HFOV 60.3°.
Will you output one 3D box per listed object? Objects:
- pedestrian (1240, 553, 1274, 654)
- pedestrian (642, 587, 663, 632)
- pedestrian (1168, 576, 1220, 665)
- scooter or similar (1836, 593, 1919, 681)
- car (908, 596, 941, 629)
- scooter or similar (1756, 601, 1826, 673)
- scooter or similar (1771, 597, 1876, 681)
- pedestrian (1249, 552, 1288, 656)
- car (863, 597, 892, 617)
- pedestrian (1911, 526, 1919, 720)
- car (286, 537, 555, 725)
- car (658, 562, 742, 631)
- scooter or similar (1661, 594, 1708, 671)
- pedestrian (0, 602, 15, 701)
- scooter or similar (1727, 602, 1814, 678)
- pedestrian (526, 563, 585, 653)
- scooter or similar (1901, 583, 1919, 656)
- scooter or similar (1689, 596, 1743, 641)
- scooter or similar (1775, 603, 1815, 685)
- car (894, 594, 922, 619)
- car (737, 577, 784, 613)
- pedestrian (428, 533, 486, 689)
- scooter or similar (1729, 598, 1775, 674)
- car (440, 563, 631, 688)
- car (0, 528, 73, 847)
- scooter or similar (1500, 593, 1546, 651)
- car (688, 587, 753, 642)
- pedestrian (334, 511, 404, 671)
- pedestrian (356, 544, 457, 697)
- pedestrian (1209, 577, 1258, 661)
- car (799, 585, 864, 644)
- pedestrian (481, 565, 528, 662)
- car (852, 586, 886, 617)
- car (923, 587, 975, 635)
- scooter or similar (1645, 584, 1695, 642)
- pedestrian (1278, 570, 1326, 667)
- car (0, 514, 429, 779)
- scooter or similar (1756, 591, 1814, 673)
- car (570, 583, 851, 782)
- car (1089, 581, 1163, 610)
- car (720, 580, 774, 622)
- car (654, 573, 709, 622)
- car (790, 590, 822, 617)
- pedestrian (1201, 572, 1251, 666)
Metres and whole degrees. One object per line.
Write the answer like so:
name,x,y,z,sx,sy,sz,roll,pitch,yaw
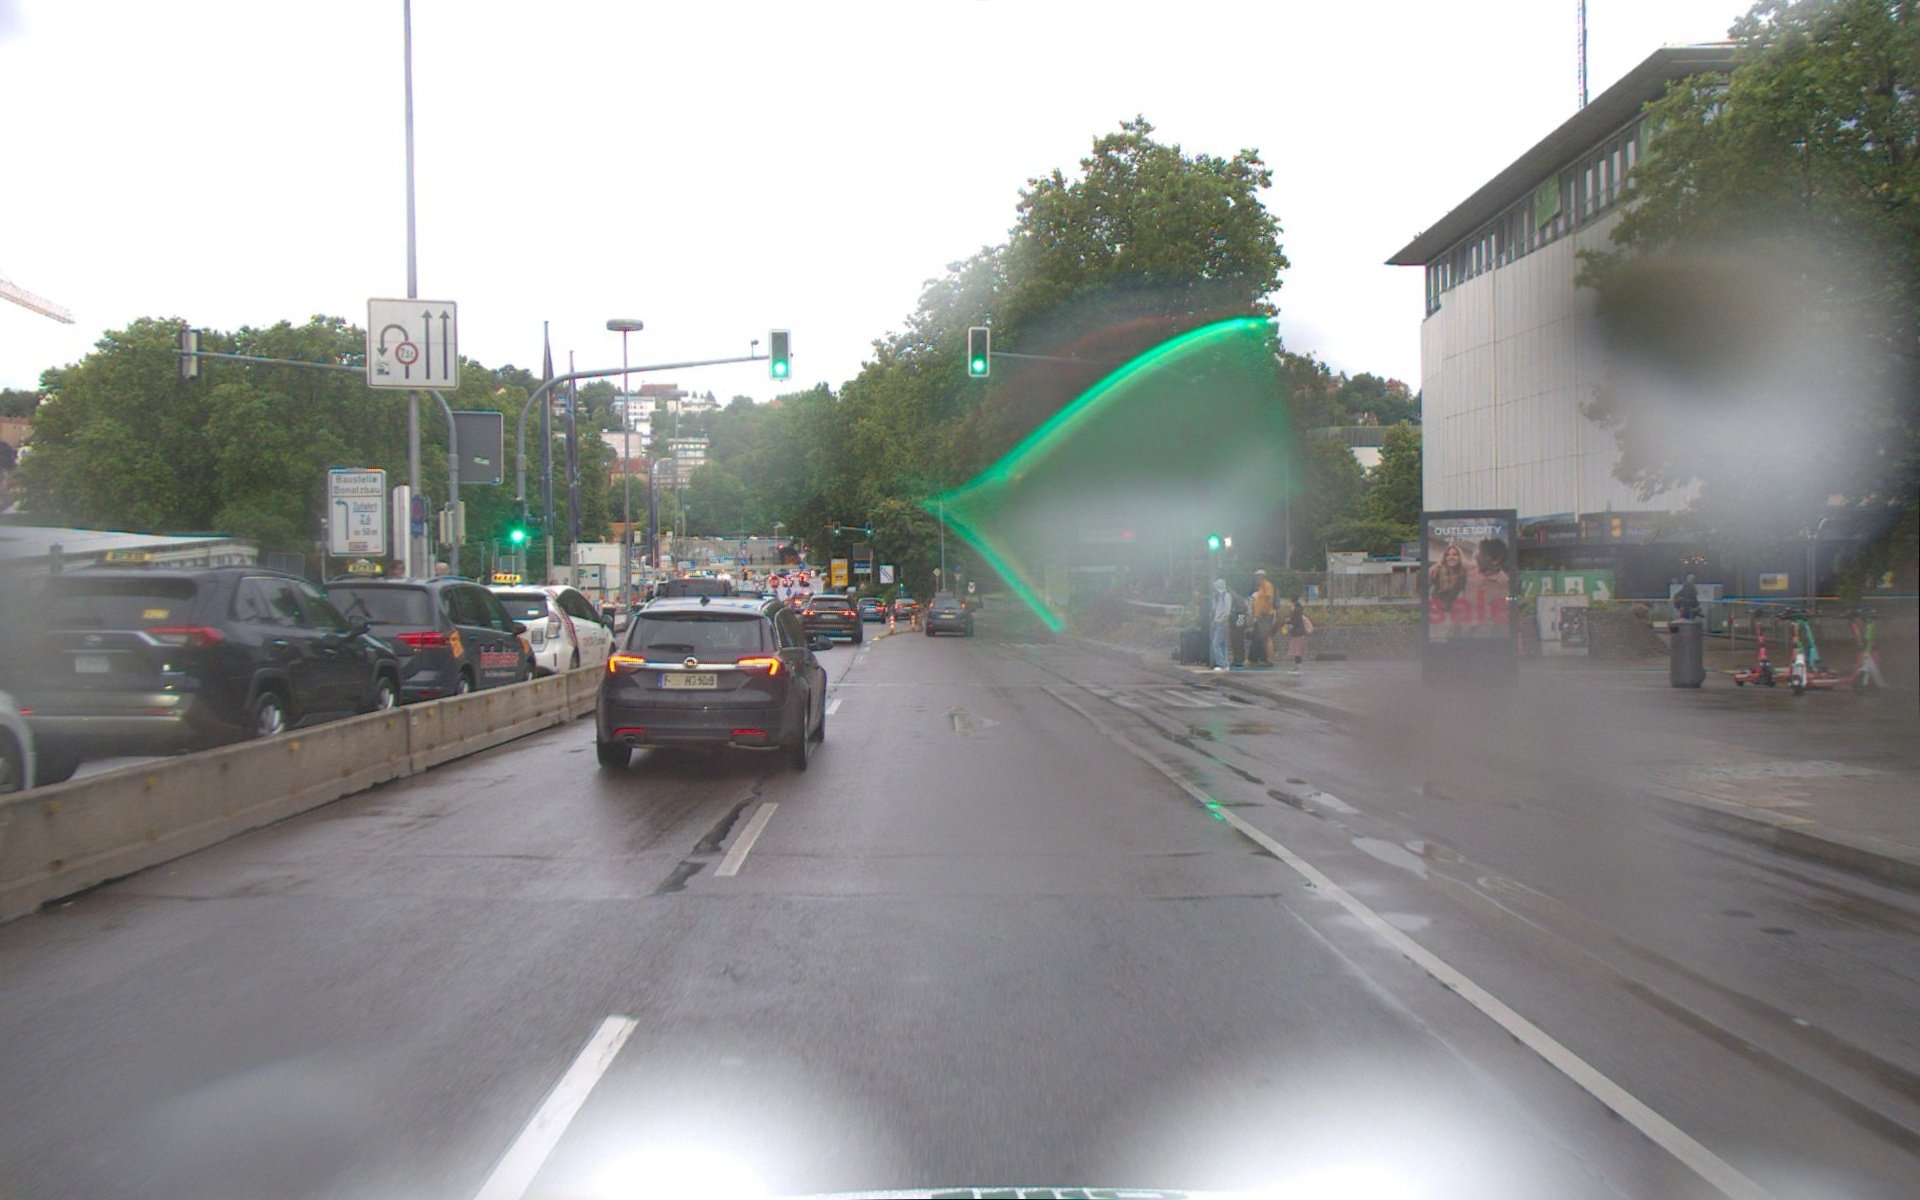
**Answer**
pedestrian,6.503,0.076,36.219,0.693,2.183,0.722,-1,0,10
pedestrian,-12.351,0.382,66.456,0.621,1.784,0.822,0,0,2
pedestrian,5.059,0.438,35.808,0.773,1.871,0.946,-1,0,-15
scooter or similar,13.731,0.533,24.498,1.281,1.278,0.590,0,0,-15
car,-1.786,0.635,84.051,1.640,1.609,3.239,0,0,-1
scooter or similar,14.531,0.642,28.929,1.074,1.238,0.475,0,0,30
scooter or similar,13.285,0.587,25.468,1.346,1.252,0.565,0,-1,44
pedestrian,6.550,0.087,35.117,0.545,2.183,0.665,-1,0,-15
car,-6.809,0.579,136.260,1.781,1.602,3.989,0,0,-11
pedestrian,10.101,0.229,16.500,0.693,1.966,0.787,-1,0,-10
car,-6.172,0.309,19.500,1.679,1.925,4.609,-1,0,-1
car,-7.369,-0.088,47.250,1.954,1.877,5.058,0,0,-4
scooter or similar,12.059,0.535,27.554,0.317,1.258,1.099,0,0,0
pedestrian,-16.849,0.889,28.425,0.699,1.693,0.836,-1,0,-1
scooter or similar,13.974,0.682,28.522,1.336,1.272,0.437,0,0,30
pedestrian,-8.727,0.171,35.697,0.983,1.919,0.683,-1,0,22
scooter or similar,17.181,0.340,28.394,0.612,1.282,1.736,0,0,-27
scooter or similar,18.092,0.436,39.596,0.467,1.053,1.312,-2,0,-13
scooter or similar,12.248,0.626,24.278,0.428,1.149,1.365,2,0,25
car,-3.525,0.431,111.319,1.603,1.653,3.791,0,0,-5
car,-9.468,-0.227,78.674,1.954,1.595,4.871,-2,0,-4
pedestrian,-6.763,0.140,22.252,0.517,2.049,0.890,-1,0,-3
scooter or similar,12.998,0.581,27.148,0.299,1.228,0.957,0,0,0
car,-6.418,0.347,25.527,1.750,1.715,4.666,-1,0,0
car,-6.397,0.522,7.964,1.953,1.818,4.452,-1,0,-2
scooter or similar,12.736,0.497,37.443,0.366,1.281,1.312,1,0,-13
car,-7.843,0.470,54.569,1.788,1.726,4.769,0,0,-4
pedestrian,-7.710,-0.118,21.606,0.609,2.049,0.836,-1,0,-1
pedestrian,-7.599,0.268,22.734,0.820,2.049,1.024,0,0,37
pedestrian,5.693,0.390,34.433,0.857,1.720,0.758,-1,0,-1
car,-3.925,0.424,51.065,1.794,1.715,4.132,-1,0,-2
pedestrian,-9.231,0.259,33.554,0.815,1.919,0.690,-1,2,-10
car,-5.190,0.096,94.689,1.866,1.747,3.998,0,0,-2
car,-0.447,0.399,61.561,1.814,1.747,3.998,0,0,-2
scooter or similar,16.858,0.311,39.281,0.402,1.355,1.312,1,0,-13
pedestrian,6.586,0.344,31.884,0.533,1.836,0.750,-1,0,-28
car,-6.203,0.318,13.969,1.953,1.818,4.846,-1,0,-1
scooter or similar,13.482,0.517,27.044,0.361,1.303,1.173,0,0,0
car,-2.098,0.634,15.300,1.839,1.534,4.852,0,0,0
car,8.740,-0.231,87.374,3.549,1.532,1.726,0,0,38
car,-8.104,0.055,63.230,1.788,1.537,4.486,0,0,-4
car,-12.017,-0.103,71.697,1.955,2.049,5.363,0,0,-5
car,-11.065,0.258,118.716,1.957,1.859,3.990,0,0,-10
pedestrian,5.286,0.373,32.915,0.733,1.836,0.707,-1,0,-15
